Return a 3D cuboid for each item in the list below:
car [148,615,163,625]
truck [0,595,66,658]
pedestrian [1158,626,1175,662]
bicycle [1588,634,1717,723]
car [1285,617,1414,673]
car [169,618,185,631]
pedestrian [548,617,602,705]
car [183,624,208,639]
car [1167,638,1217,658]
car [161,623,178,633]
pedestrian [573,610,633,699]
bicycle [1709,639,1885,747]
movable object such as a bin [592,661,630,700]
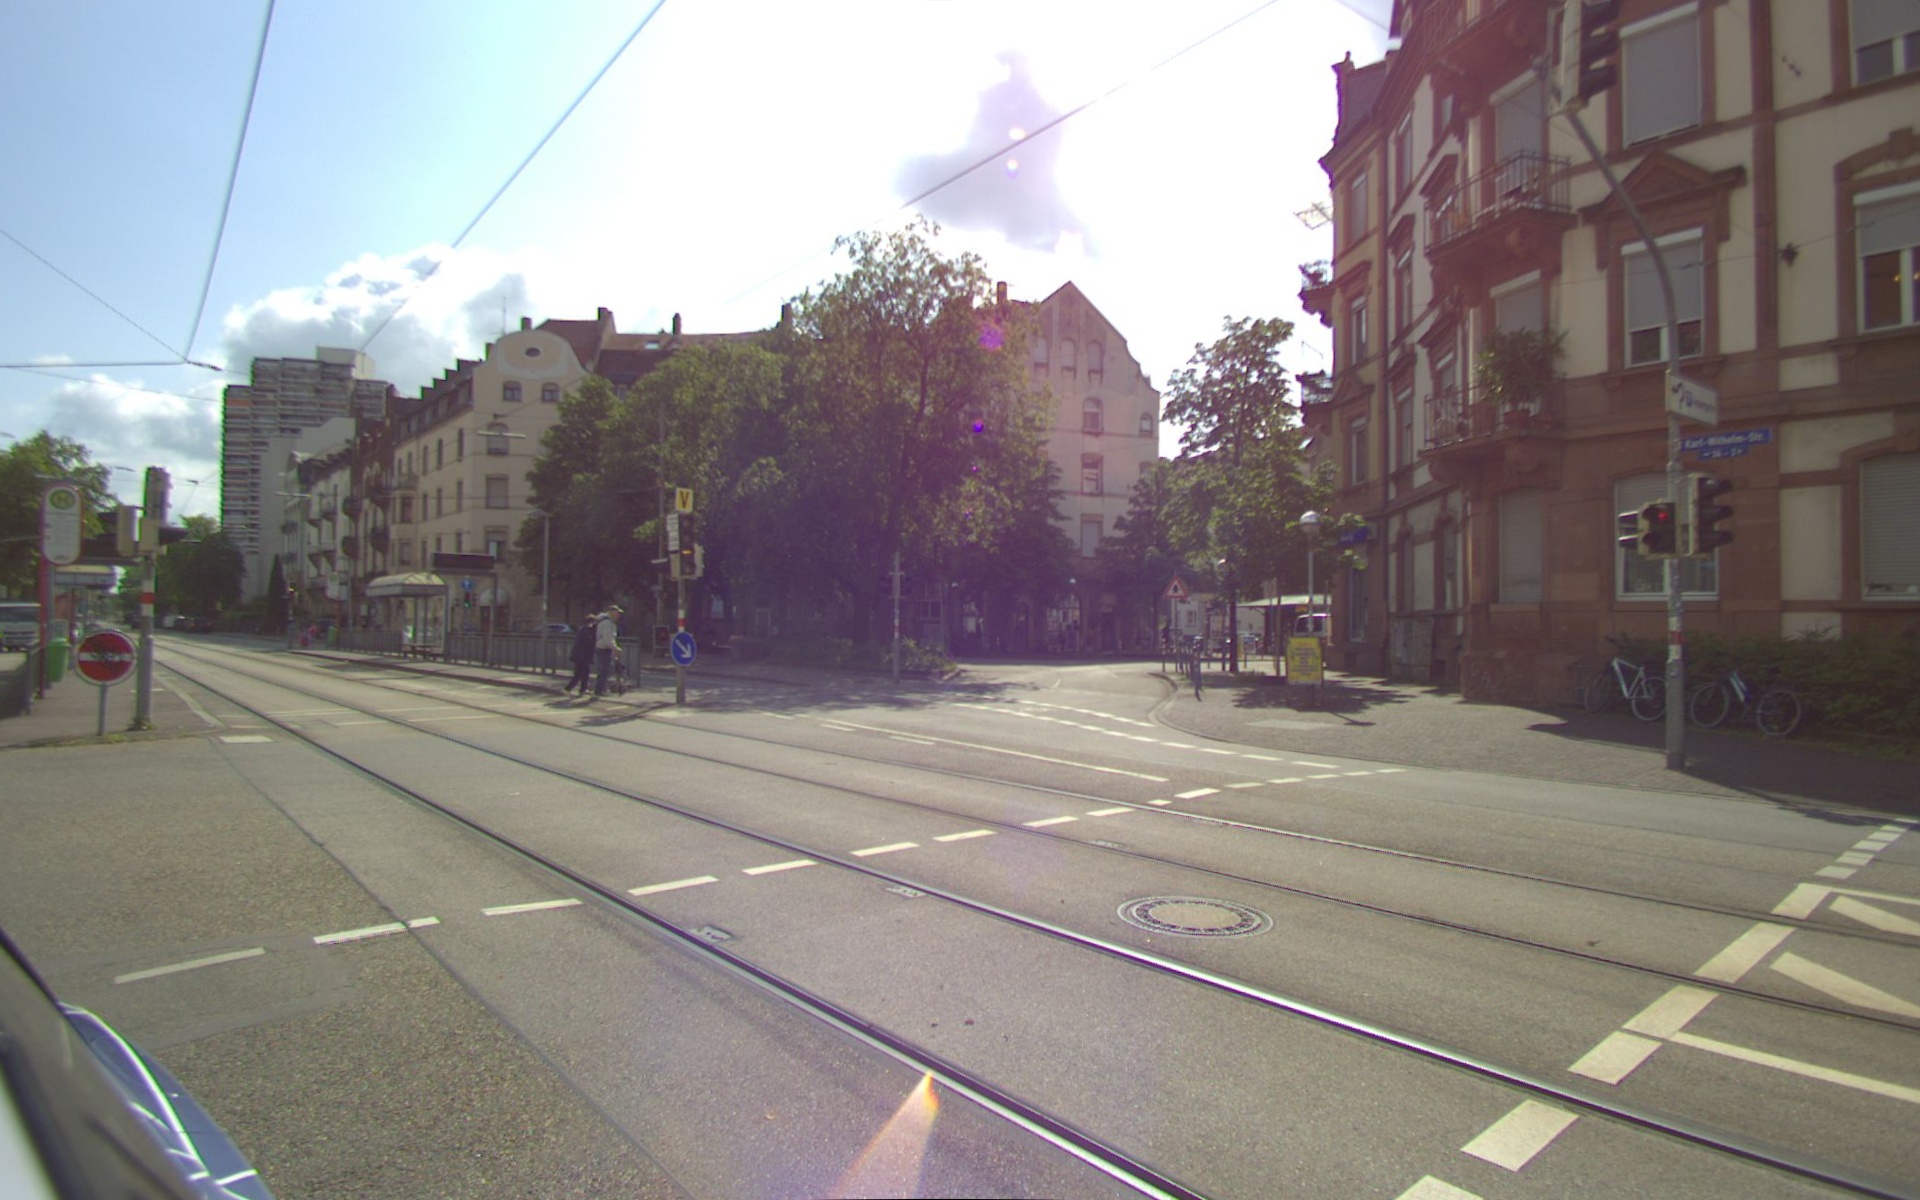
[{"bbox_3d":[-146.345,3.667,184.074,1.814,1.823,3.897,2,-2,-42],"label":"car"},{"bbox_3d":[-44.026,1.264,47.556,2.492,2.759,6.528,2,-3,-38],"label":"truck"},{"bbox_3d":[11.642,2.483,57.019,0.703,2.029,0.694,1,-2,-22],"label":"pedestrian"},{"bbox_3d":[10.276,1.133,15.114,0.476,1.234,1.955,0,-2,-3],"label":"bicycle"},{"bbox_3d":[14.205,1.635,36.914,4.191,1.922,2.006,1,-2,-25],"label":"car"},{"bbox_3d":[-135.458,4.184,175.020,1.814,2.209,3.897,2,-2,-42],"label":"car"},{"bbox_3d":[-7.171,1.125,18.860,0.584,1.586,0.707,-1,-3,35],"label":"pedestrian"},{"bbox_3d":[-82.202,3.381,108.757,1.814,1.502,3.897,2,-2,-42],"label":"car"},{"bbox_3d":[16.368,3.402,71.644,1.436,1.342,3.776,1,-2,-25],"label":"car"},{"bbox_3d":[-118.530,4.238,151.707,1.814,1.502,3.897,2,-2,-42],"label":"car"},{"bbox_3d":[-6.540,0.994,18.549,0.692,1.586,0.773,-1,-3,35],"label":"pedestrian"},{"bbox_3d":[10.444,1.114,12.732,0.476,1.234,1.955,0,-2,-3],"label":"bicycle"},{"bbox_3d":[-6.724,1.537,19.508,0.456,0.723,0.506,-1,-3,35],"label":"movable object such as a bin"}]
